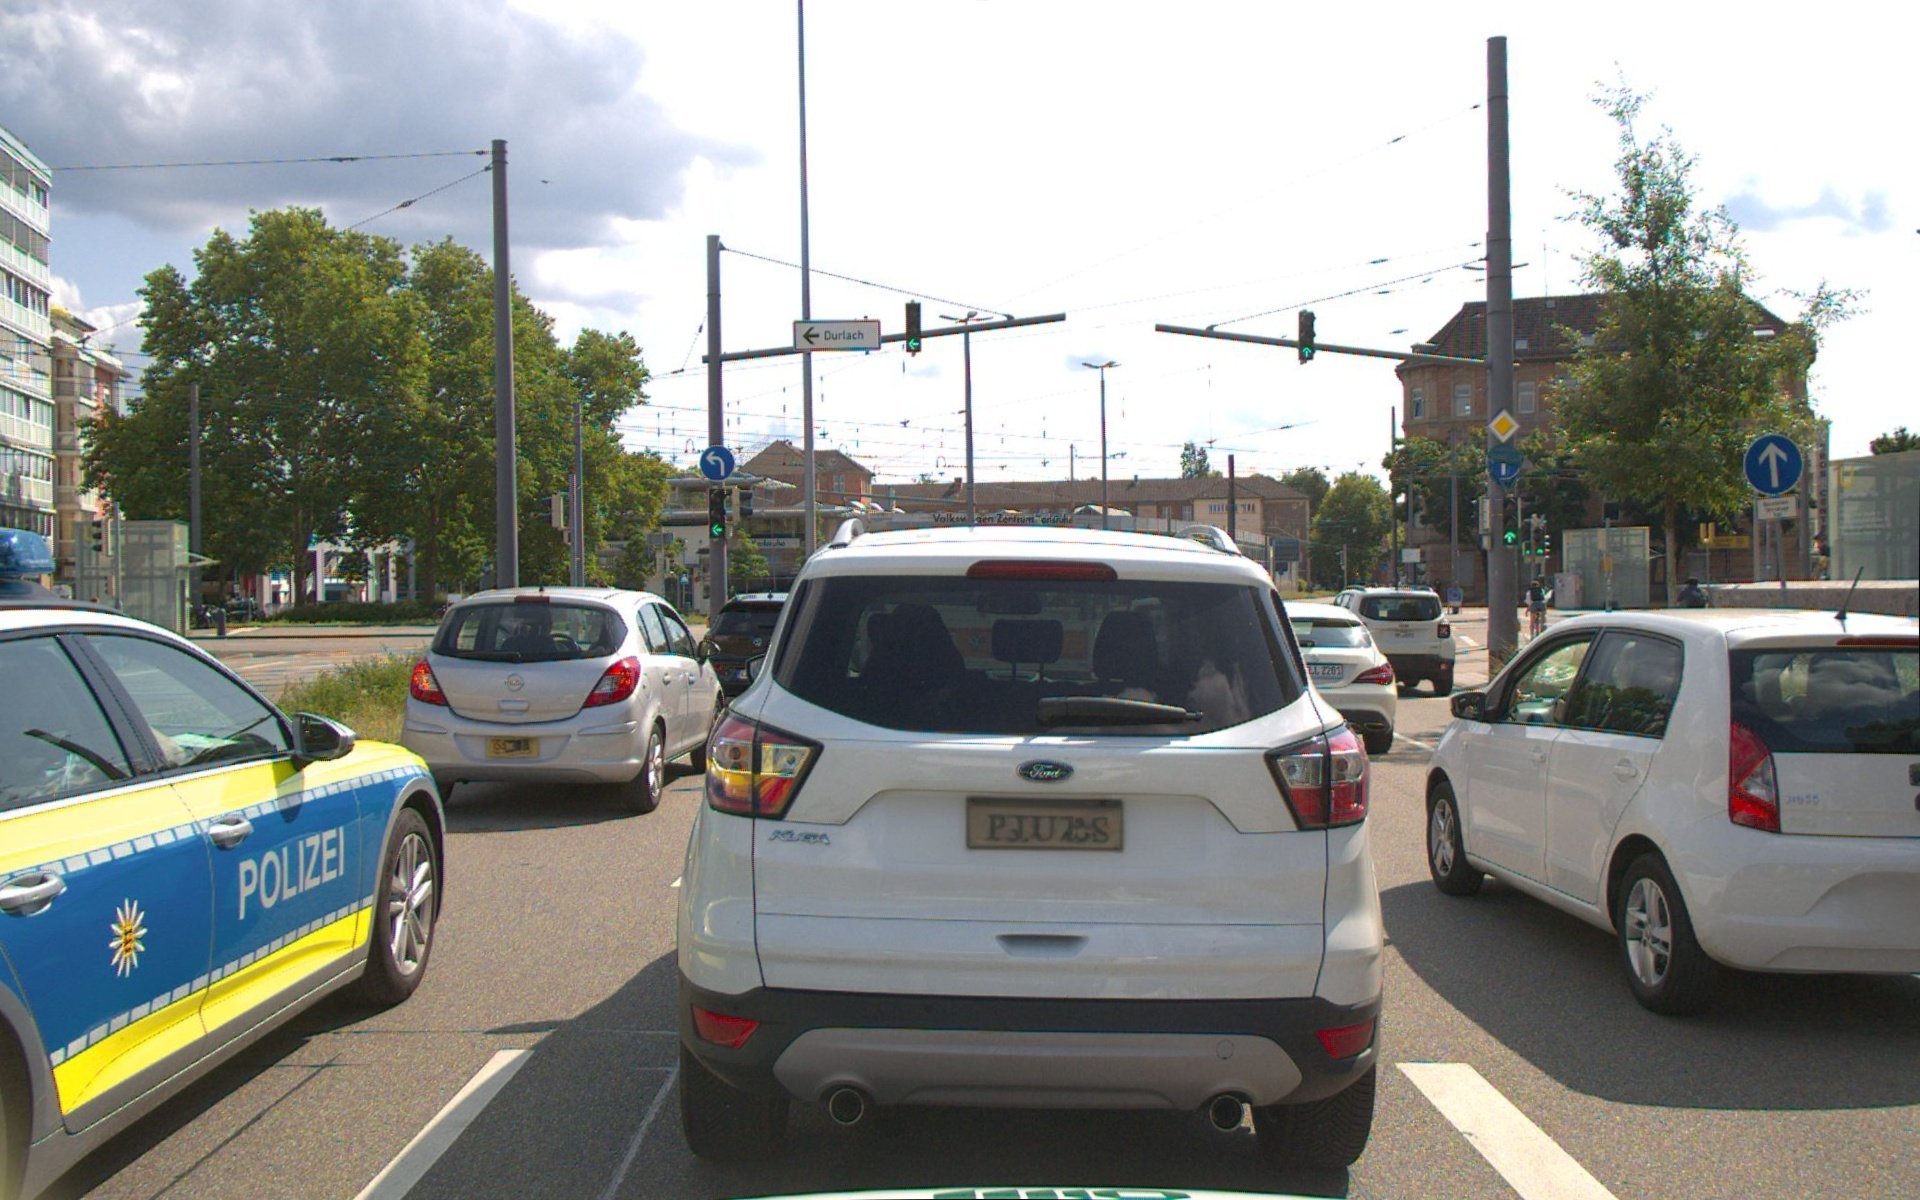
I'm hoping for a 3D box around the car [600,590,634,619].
[{"bbox_3d":[-25.530,0.350,123.242,1.955,2.049,4.226,-2,-1,-5],"label":"car"}]

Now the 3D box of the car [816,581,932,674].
[{"bbox_3d":[-1.578,0.467,30.736,1.999,1.606,4.537,0,0,-3],"label":"car"}]

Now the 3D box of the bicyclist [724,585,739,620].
[{"bbox_3d":[-11.899,0.132,86.036,0.628,1.768,0.658,0,1,-20],"label":"bicyclist"}]

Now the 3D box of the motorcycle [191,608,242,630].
[{"bbox_3d":[-34.302,0.877,76.312,0.795,0.933,2.037,0,1,36],"label":"motorcycle"}]

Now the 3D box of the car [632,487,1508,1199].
[{"bbox_3d":[0.314,0.617,5.379,1.789,1.693,3.957,0,0,3],"label":"car"}]

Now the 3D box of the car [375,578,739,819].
[{"bbox_3d":[-2.818,0.619,12.483,1.810,1.500,3.999,-1,0,-1],"label":"car"}]

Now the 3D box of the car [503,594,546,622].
[{"bbox_3d":[-32.721,0.601,124.507,1.928,1.971,5.067,-2,-1,-1],"label":"car"}]

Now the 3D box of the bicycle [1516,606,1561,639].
[{"bbox_3d":[14.375,0.551,41.118,0.572,0.789,1.621,-1,0,1],"label":"bicycle"}]

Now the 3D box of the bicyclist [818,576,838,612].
[{"bbox_3d":[-6.410,-0.287,80.237,0.743,1.712,0.761,-2,0,14],"label":"bicyclist"}]

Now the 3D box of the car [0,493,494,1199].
[{"bbox_3d":[-2.701,0.607,4.069,1.842,1.595,4.614,-1,0,-1],"label":"car"}]

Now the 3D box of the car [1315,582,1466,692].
[{"bbox_3d":[7.005,0.579,27.289,1.797,1.681,4.002,0,0,5],"label":"car"}]

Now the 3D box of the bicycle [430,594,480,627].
[{"bbox_3d":[-22.777,0.469,74.574,2.133,1.439,0.809,0,1,-16],"label":"bicycle"}]

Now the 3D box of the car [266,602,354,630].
[{"bbox_3d":[-33.802,0.847,86.062,3.907,1.350,1.632,-2,-1,-3],"label":"car"}]

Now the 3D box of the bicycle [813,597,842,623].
[{"bbox_3d":[-6.404,0.487,80.187,0.743,1.213,2.152,-2,0,14],"label":"bicycle"}]

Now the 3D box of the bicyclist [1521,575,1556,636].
[{"bbox_3d":[14.359,0.134,41.083,0.595,1.476,0.774,-1,0,1],"label":"bicyclist"}]

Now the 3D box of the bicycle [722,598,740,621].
[{"bbox_3d":[-11.938,0.482,86.148,0.628,1.145,1.774,0,1,-19],"label":"bicycle"}]

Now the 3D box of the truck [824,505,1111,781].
[{"bbox_3d":[0.188,0.337,16.326,2.290,2.193,5.854,1,0,2],"label":"truck"}]

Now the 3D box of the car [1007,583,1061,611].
[{"bbox_3d":[4.239,-0.198,93.747,1.860,1.487,3.969,-2,0,21],"label":"car"}]

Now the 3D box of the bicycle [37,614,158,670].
[{"bbox_3d":[-19.882,0.960,38.163,2.248,1.209,0.994,-2,0,-4],"label":"bicycle"}]

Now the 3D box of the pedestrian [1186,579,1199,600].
[{"bbox_3d":[20.367,-0.927,144.852,0.860,1.767,0.873,1,-1,35],"label":"pedestrian"}]

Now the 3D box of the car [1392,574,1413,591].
[{"bbox_3d":[45.463,-1.739,169.747,1.798,1.681,4.001,0,0,19],"label":"car"}]

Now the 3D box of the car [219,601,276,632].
[{"bbox_3d":[-35.664,0.846,82.892,1.872,1.438,3.987,-1,-1,-12],"label":"car"}]

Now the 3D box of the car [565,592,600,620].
[{"bbox_3d":[-28.136,0.477,123.457,1.929,1.971,4.226,-2,-1,-5],"label":"car"}]

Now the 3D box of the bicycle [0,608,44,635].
[{"bbox_3d":[-40.940,0.936,71.991,1.776,1.167,0.792,-1,0,-19],"label":"bicycle"}]

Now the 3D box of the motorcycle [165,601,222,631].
[{"bbox_3d":[-33.136,0.690,71.487,2.165,1.259,0.906,-1,1,17],"label":"motorcycle"}]

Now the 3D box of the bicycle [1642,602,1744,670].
[{"bbox_3d":[11.724,0.552,26.517,0.829,0.987,1.962,-3,0,4],"label":"bicycle"}]

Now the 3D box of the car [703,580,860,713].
[{"bbox_3d":[-2.274,0.543,22.114,1.727,1.595,4.525,0,0,-2],"label":"car"}]

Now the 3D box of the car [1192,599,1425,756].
[{"bbox_3d":[3.482,0.715,17.151,1.811,1.443,3.680,0,0,3],"label":"car"}]

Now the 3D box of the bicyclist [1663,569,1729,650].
[{"bbox_3d":[11.717,0.143,26.365,0.622,1.241,0.924,-3,1,2],"label":"bicyclist"}]

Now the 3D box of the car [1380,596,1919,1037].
[{"bbox_3d":[3.310,0.717,7.547,1.616,1.446,3.998,0,0,-3],"label":"car"}]

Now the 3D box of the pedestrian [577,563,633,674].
[{"bbox_3d":[-6.367,0.336,29.654,0.830,1.950,0.692,-1,-1,-1],"label":"pedestrian"}]

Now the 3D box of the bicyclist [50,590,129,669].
[{"bbox_3d":[-20.082,0.665,38.173,1.271,1.761,0.994,-1,0,-3],"label":"bicyclist"}]

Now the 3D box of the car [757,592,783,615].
[{"bbox_3d":[-13.974,0.274,121.769,1.783,1.560,3.913,-2,-1,-5],"label":"car"}]

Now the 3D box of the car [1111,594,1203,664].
[{"bbox_3d":[4.212,0.598,35.802,1.811,1.443,3.681,0,0,4],"label":"car"}]

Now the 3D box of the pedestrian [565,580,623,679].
[{"bbox_3d":[-6.368,0.510,28.803,0.830,1.676,0.692,-1,-1,-1],"label":"pedestrian"}]
